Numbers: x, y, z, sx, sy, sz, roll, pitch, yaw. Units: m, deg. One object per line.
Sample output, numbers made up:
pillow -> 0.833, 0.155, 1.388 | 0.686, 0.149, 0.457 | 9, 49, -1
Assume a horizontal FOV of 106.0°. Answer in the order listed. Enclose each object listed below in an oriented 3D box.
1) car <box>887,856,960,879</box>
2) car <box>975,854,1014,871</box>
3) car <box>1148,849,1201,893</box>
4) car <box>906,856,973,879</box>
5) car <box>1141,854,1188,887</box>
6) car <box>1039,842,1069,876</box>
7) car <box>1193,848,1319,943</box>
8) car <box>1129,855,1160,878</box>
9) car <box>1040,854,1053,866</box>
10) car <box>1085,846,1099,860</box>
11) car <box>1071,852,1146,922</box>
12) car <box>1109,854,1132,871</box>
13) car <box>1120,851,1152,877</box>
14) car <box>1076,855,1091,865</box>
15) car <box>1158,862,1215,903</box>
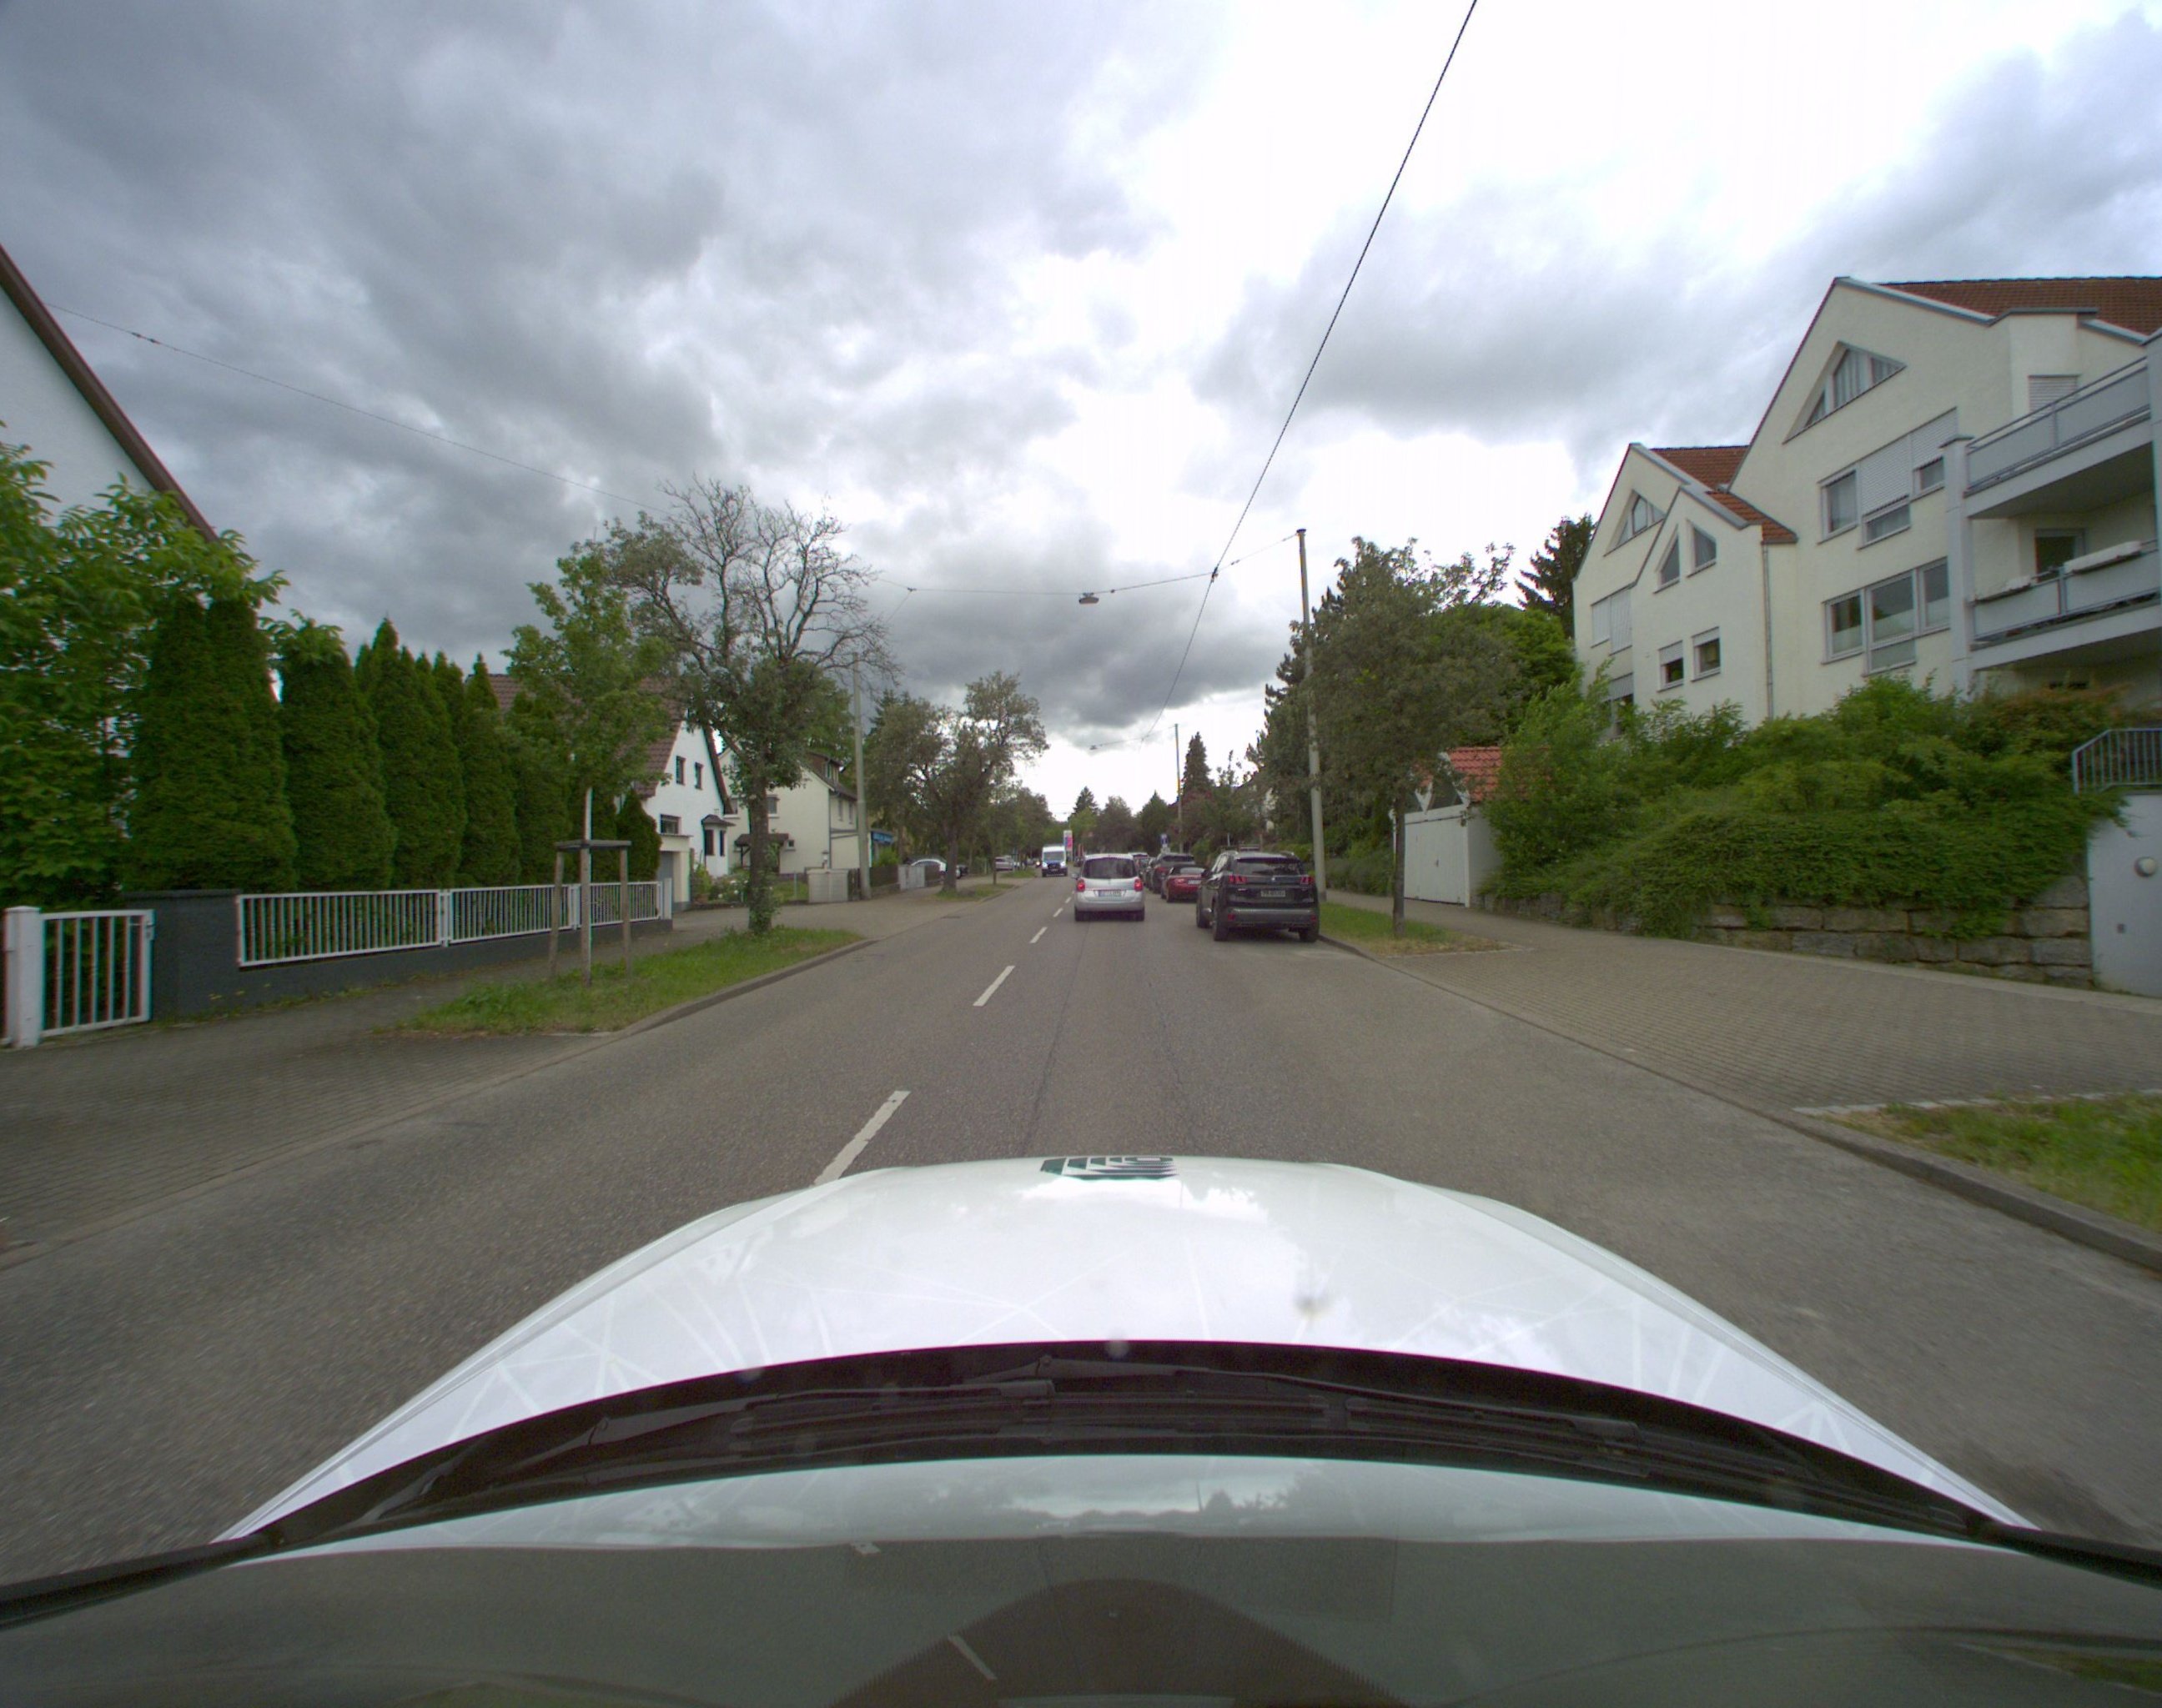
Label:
car -> -9.870, 0.858, 51.320 | 4.272, 1.368, 1.812 | 1, -1, -6
car -> -9.402, 0.894, 88.942 | 4.075, 1.706, 1.746 | -2, 0, -1
car -> 3.848, 0.678, 34.114 | 1.823, 1.712, 4.550 | -1, 0, 1
car -> -9.884, 0.937, 57.091 | 4.317, 1.618, 1.974 | 0, -1, 1
car -> 3.952, 0.749, 39.017 | 1.824, 1.457, 4.550 | 0, 0, 0
car -> -2.108, 0.402, 65.915 | 2.066, 2.582, 5.299 | -3, 0, 0
car -> 3.256, 0.710, 15.880 | 1.682, 1.609, 4.110 | 0, 0, 1
car -> 4.075, 0.801, 52.776 | 1.554, 1.443, 3.503 | 0, 0, -3
car -> -5.170, 0.842, 123.141 | 1.831, 1.714, 3.995 | -3, 0, -3
car -> 2.257, -0.181, 165.192 | 2.277, 2.911, 5.270 | 0, -1, -5
car -> 0.689, 0.752, 20.229 | 1.673, 1.560, 3.513 | -1, 0, 2
car -> 3.543, 0.769, 73.190 | 1.623, 1.452, 3.871 | -2, 0, -3
car -> 3.853, 0.709, 57.982 | 1.795, 1.778, 4.700 | 0, 0, -3
car -> 0.327, 0.882, 119.127 | 1.694, 1.506, 3.962 | -1, 0, -7
car -> 3.511, 0.911, 27.518 | 1.476, 1.236, 3.885 | 1, 0, 1
